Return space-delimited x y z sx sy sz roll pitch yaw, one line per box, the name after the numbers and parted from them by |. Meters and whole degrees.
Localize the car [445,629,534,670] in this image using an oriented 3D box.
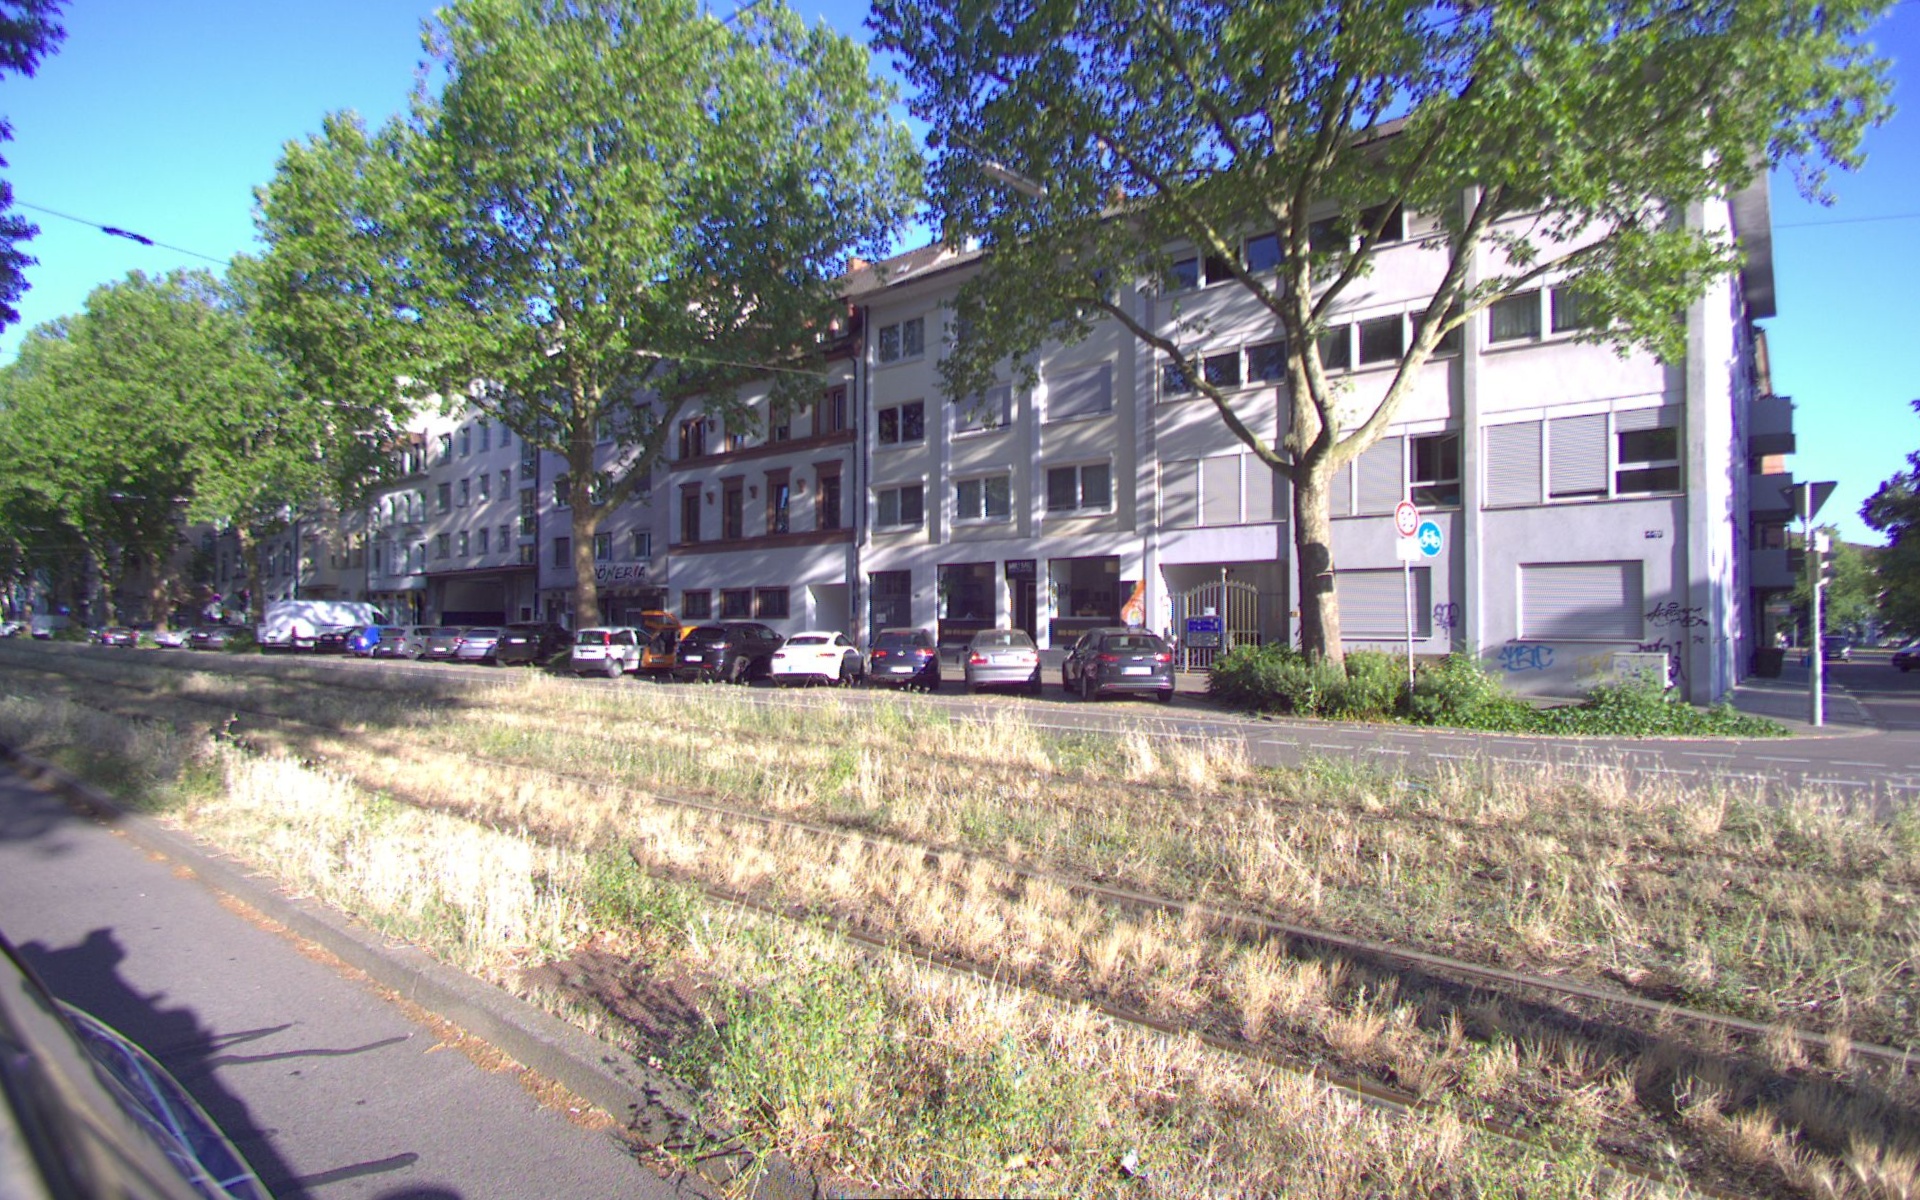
-18.299 1.894 39.537 1.883 1.396 4.004 -1 -1 -5 | car

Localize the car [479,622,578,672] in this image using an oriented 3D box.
-15.684 1.674 37.017 1.972 1.673 4.000 -1 -1 -1 | car

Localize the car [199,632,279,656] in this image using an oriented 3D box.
-43.005 2.647 60.444 1.778 1.368 4.002 0 -3 3 | car

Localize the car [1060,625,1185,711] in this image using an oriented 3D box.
3.293 1.350 21.287 1.791 1.490 4.002 -1 0 -2 | car

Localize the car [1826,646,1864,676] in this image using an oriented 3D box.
63.356 4.340 72.465 1.999 2.029 3.945 -1 -2 41 | car

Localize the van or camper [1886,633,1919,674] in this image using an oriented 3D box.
50.188 2.703 50.796 5.079 2.029 1.993 0 -2 10 | van or camper

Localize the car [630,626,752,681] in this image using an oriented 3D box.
-8.363 1.634 31.793 1.764 1.490 3.974 -1 0 20 | car

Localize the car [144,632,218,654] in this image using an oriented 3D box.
-51.789 2.837 67.339 1.806 1.400 3.670 0 -2 9 | car

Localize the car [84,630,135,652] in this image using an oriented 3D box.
-56.643 2.702 67.388 4.480 1.400 1.802 -1 -4 40 | car

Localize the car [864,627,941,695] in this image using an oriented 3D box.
-1.443 1.473 25.682 1.776 1.452 4.002 -1 0 -3 | car

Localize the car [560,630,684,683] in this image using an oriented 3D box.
-10.465 1.700 31.694 1.643 1.460 4.345 0 -1 14 | car

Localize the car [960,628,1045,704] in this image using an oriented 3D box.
0.898 1.435 23.277 1.698 1.452 4.000 -1 0 -1 | car

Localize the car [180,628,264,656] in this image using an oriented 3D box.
-45.533 2.617 62.545 1.912 1.605 4.155 0 -4 4 | car

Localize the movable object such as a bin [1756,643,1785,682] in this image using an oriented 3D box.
27.823 2.136 34.740 0.745 1.315 0.861 -1 -2 39 | movable object such as a bin

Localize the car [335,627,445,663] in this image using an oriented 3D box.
-25.965 2.021 46.188 1.854 1.431 3.951 -1 0 36 | car

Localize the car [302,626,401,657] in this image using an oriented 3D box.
-30.748 2.117 51.256 1.984 1.502 3.975 -1 -2 18 | car

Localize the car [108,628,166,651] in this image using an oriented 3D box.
-63.514 3.044 78.204 1.703 1.666 4.008 0 -2 -10 | car

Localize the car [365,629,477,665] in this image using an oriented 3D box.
-23.604 2.027 44.434 1.941 1.503 3.964 -1 -2 27 | car

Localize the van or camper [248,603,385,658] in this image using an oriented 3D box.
-33.113 1.596 52.366 2.162 2.666 5.929 -1 -2 19 | van or camper

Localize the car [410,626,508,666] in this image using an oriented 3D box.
-20.541 1.871 41.667 1.735 1.433 3.993 -1 0 6 | car

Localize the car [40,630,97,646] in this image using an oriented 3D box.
-86.021 3.635 97.686 1.709 1.256 3.993 -1 1 6 | car

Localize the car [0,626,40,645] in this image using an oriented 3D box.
-107.386 3.990 115.151 1.971 2.029 4.002 -1 0 -2 | car

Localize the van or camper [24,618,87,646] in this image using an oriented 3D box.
-88.327 3.099 98.889 2.171 2.418 4.364 -1 1 0 | van or camper

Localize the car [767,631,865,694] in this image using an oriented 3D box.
-3.696 1.586 26.686 1.700 1.343 4.200 -1 0 4 | car

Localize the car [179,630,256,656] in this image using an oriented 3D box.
-47.733 2.794 65.173 1.803 1.545 3.994 0 -3 4 | car

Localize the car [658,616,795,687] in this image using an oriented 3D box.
-6.461 1.474 28.605 1.975 1.800 4.343 1 -3 14 | car
